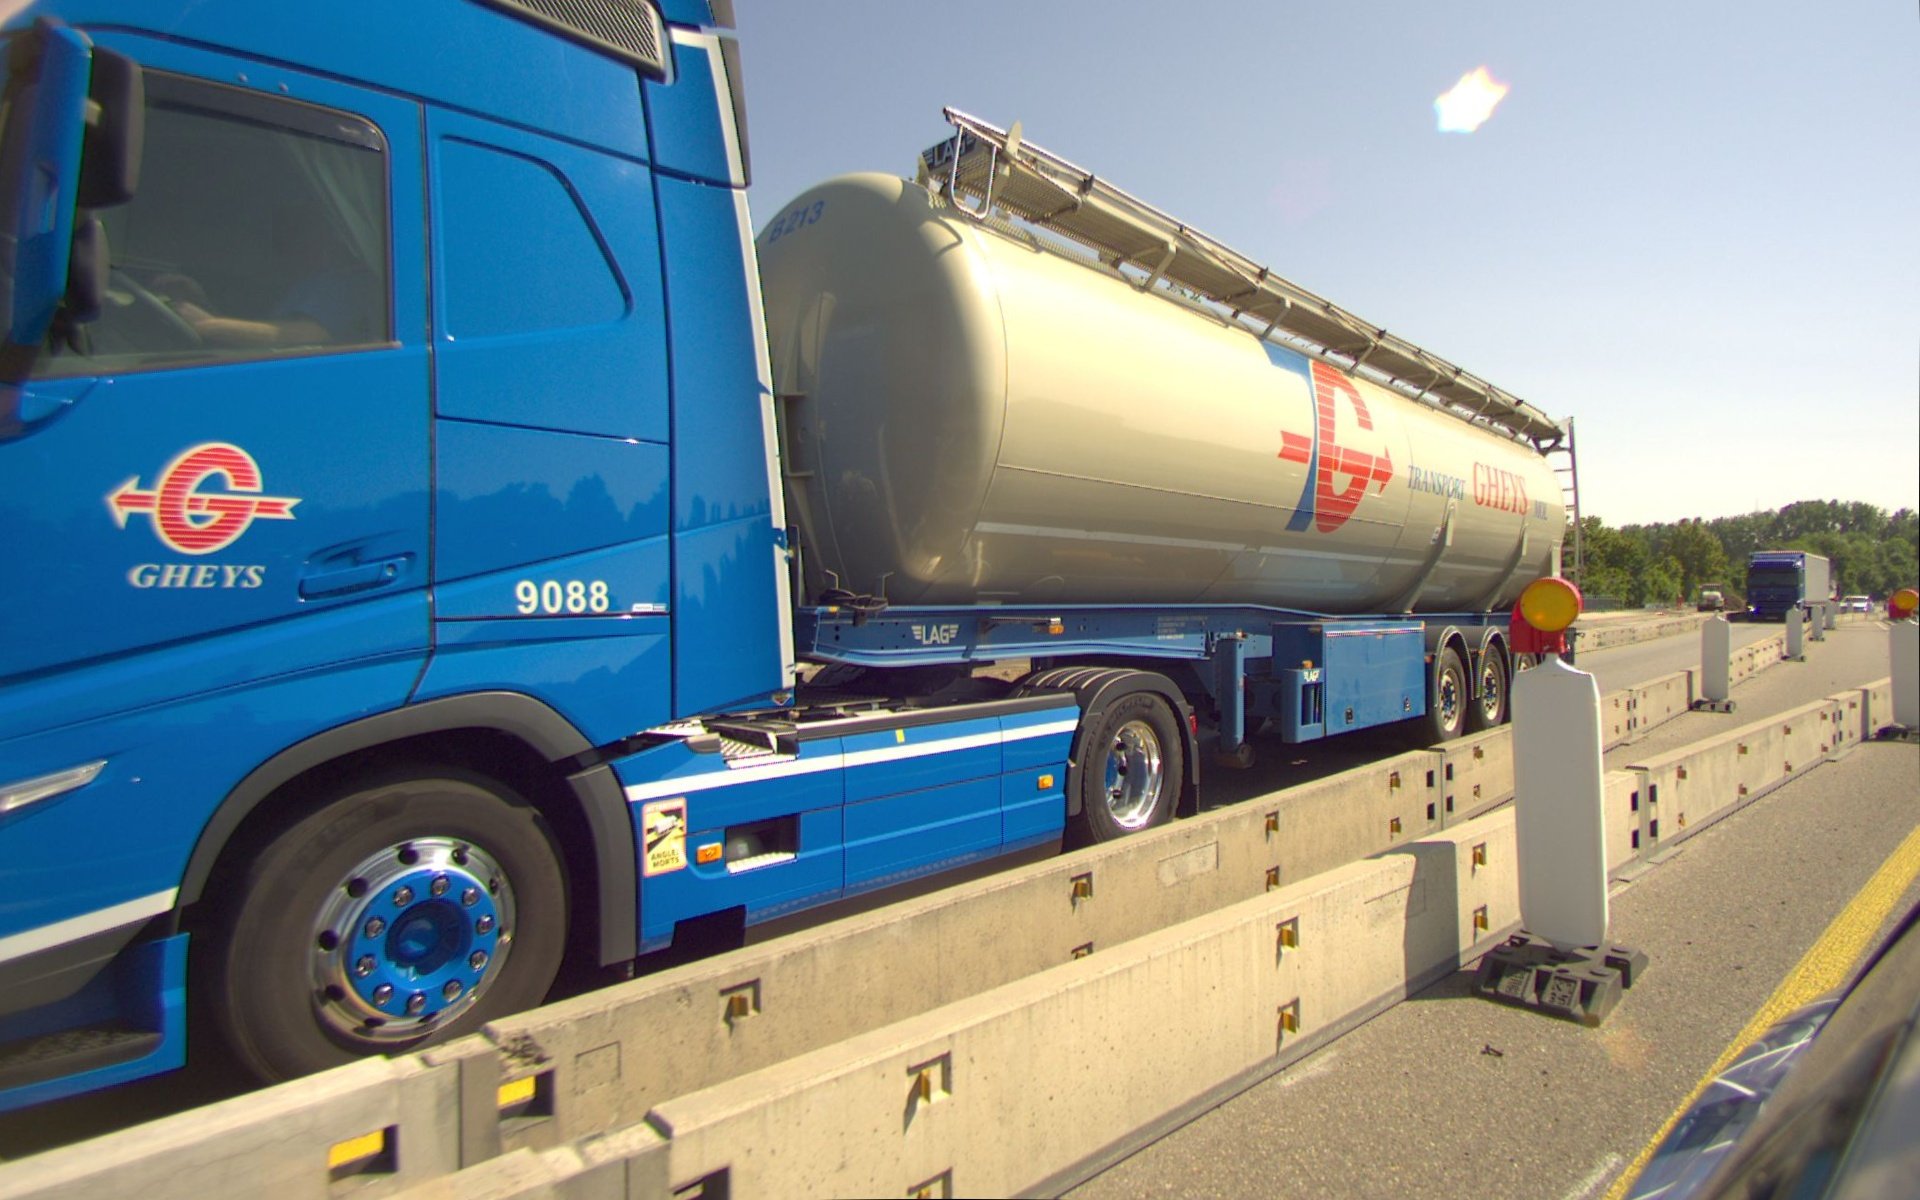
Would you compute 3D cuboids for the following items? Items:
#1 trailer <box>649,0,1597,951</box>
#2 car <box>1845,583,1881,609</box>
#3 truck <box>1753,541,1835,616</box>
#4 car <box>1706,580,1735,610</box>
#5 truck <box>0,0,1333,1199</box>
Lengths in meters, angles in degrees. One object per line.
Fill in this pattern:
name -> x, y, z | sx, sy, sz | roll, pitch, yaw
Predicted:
trailer -> 3.279, -0.641, 9.904 | 2.694, 4.188, 12.419 | 2, 2, 43
car -> 72.223, -0.337, 80.941 | 1.993, 2.038, 3.938 | 2, 2, 43
truck -> 48.774, -1.239, 59.083 | 2.855, 4.034, 8.525 | 2, 2, 45
car -> 72.263, -0.516, 96.178 | 2.099, 2.675, 5.905 | 2, 2, 37
truck -> -0.807, -0.577, 5.516 | 2.694, 4.153, 7.186 | 2, 2, 43
